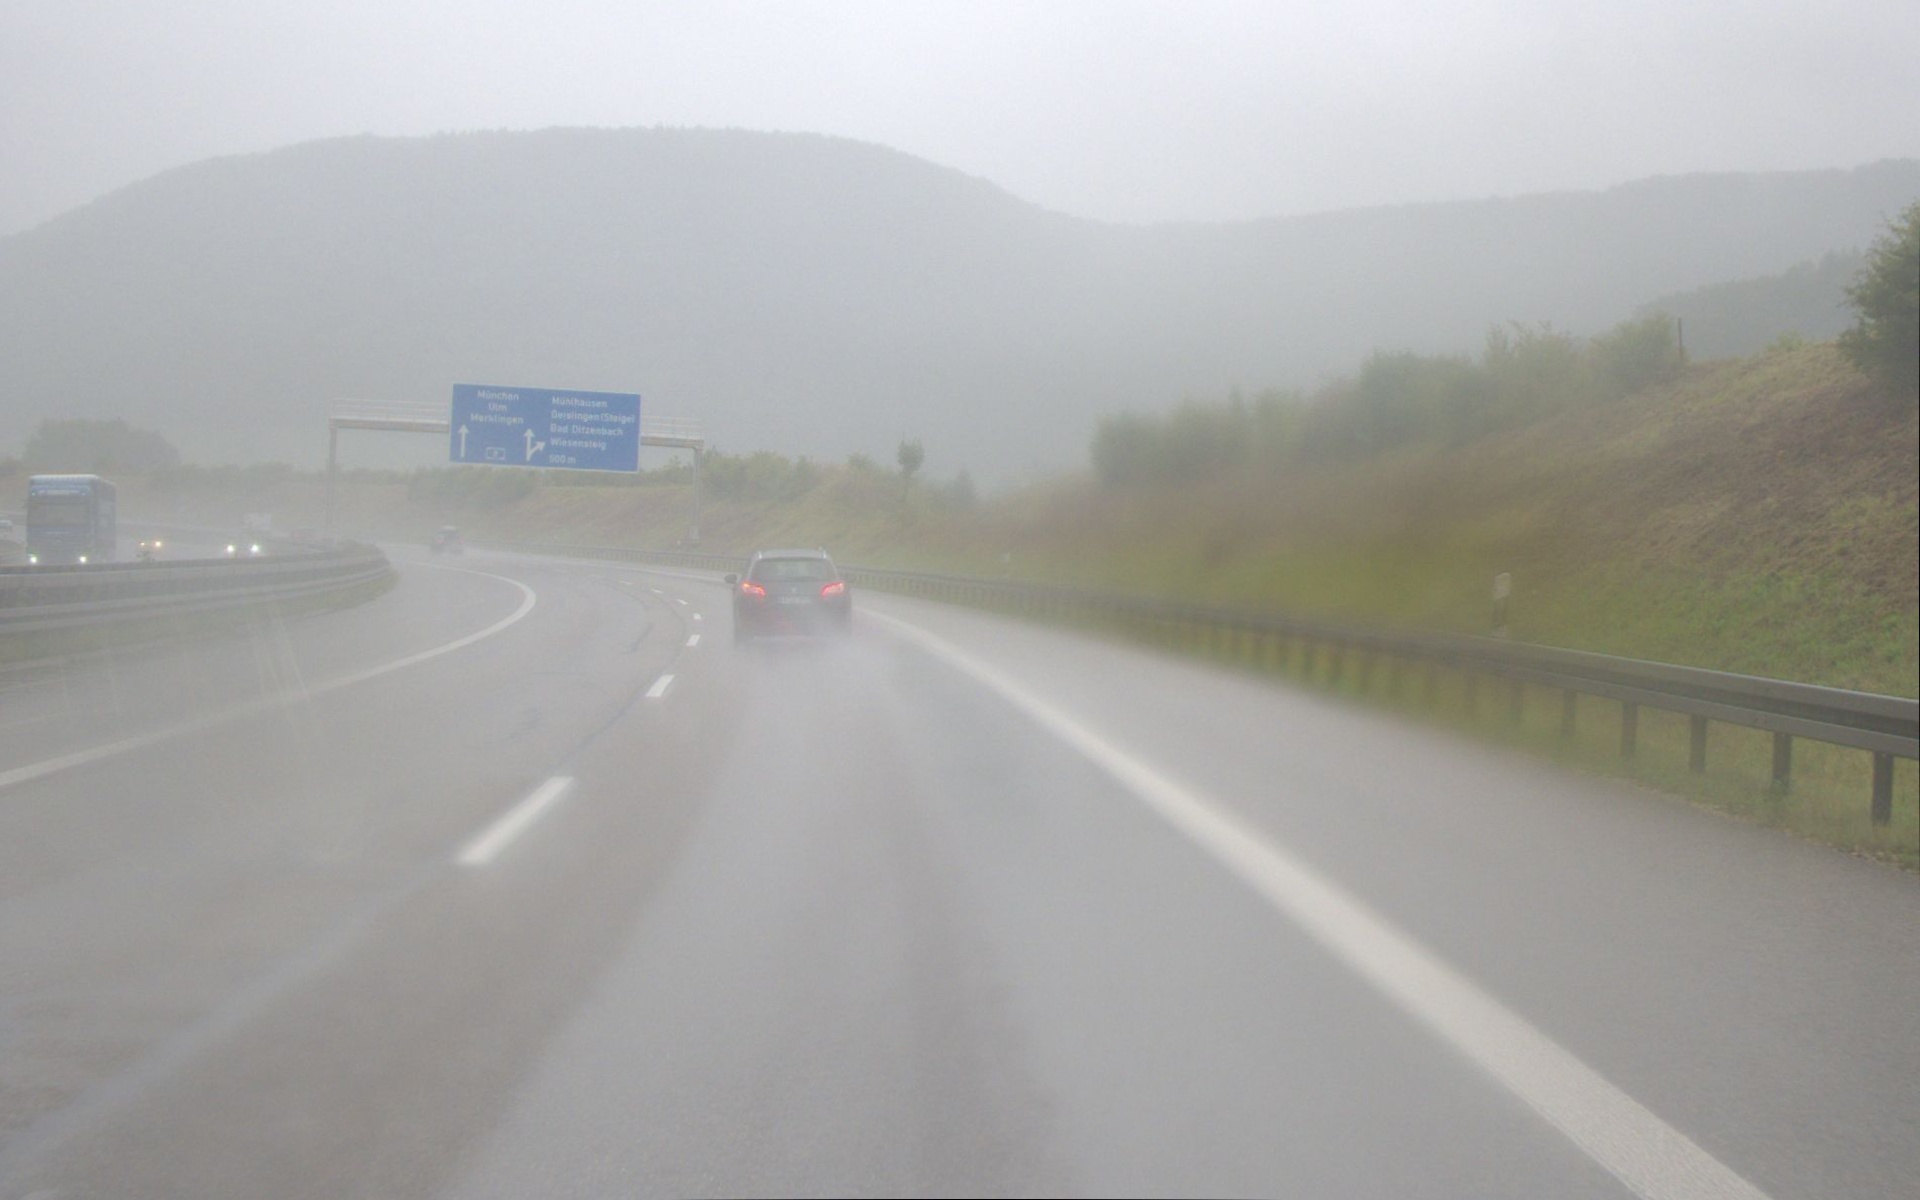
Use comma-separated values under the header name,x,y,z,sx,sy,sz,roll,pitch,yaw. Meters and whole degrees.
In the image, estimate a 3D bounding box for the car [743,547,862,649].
name,x,y,z,sx,sy,sz,roll,pitch,yaw
car,-2.373,-0.057,52.609,1.679,1.467,3.815,1,1,-1
